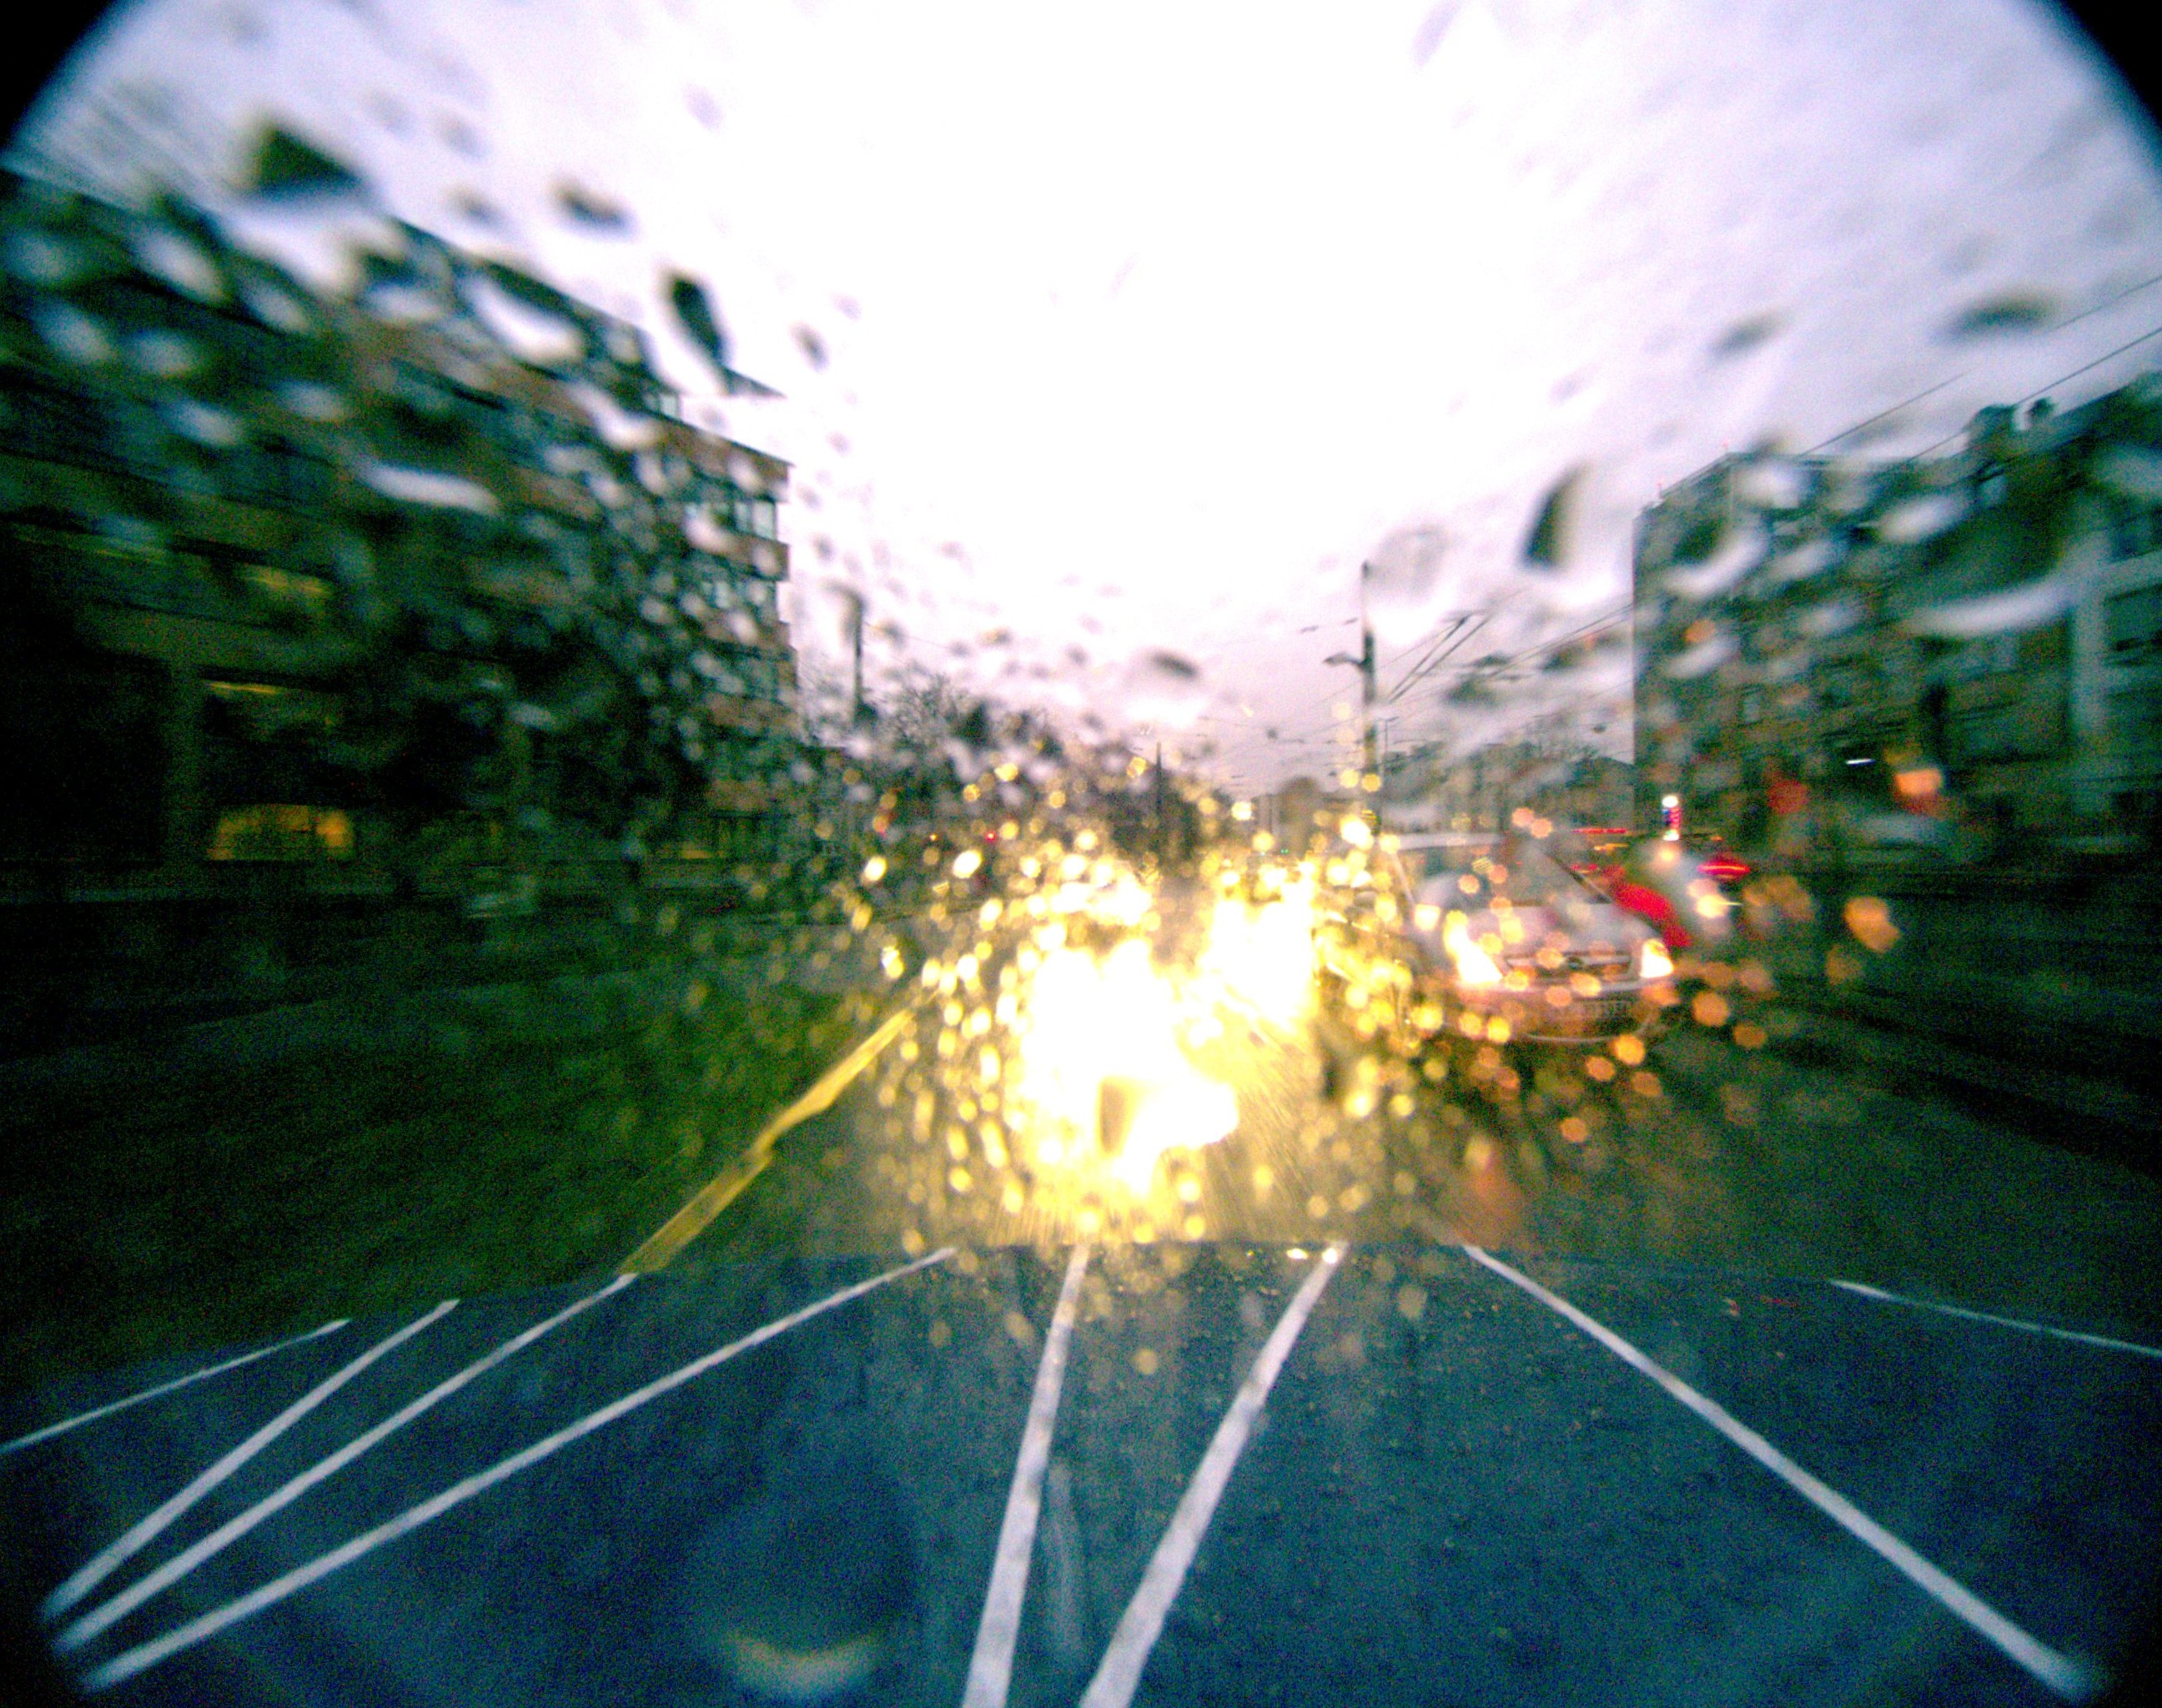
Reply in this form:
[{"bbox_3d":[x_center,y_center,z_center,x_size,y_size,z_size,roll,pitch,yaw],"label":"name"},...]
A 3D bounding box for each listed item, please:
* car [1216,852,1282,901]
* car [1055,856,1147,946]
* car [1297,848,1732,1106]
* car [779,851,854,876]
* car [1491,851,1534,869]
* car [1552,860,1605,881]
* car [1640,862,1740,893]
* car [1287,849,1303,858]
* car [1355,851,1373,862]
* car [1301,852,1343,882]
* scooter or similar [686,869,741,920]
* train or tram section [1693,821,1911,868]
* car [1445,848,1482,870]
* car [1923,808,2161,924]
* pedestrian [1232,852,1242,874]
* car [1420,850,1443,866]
[{"bbox_3d":[5.838,0.716,26.055,1.750,1.535,4.006,0,0,19],"label":"car"},{"bbox_3d":[0.497,0.874,15.820,1.649,1.575,3.805,-1,0,4],"label":"car"},{"bbox_3d":[3.188,0.745,6.631,1.649,1.539,4.110,-1,0,4],"label":"car"},{"bbox_3d":[-18.130,0.662,52.216,4.511,1.660,1.999,0,0,-4],"label":"car"},{"bbox_3d":[32.176,0.428,56.768,1.682,1.346,4.392,0,0,15],"label":"car"},{"bbox_3d":[28.962,0.924,44.314,1.602,1.127,3.794,0,0,17],"label":"car"},{"bbox_3d":[26.529,0.983,33.283,1.539,1.219,4.090,0,0,7],"label":"car"},{"bbox_3d":[35.389,-0.042,125.548,1.648,1.441,3.851,-1,0,2],"label":"car"},{"bbox_3d":[41.876,0.384,112.648,1.996,1.635,4.004,1,0,13],"label":"car"},{"bbox_3d":[14.755,0.764,46.343,1.816,1.732,4.194,0,0,26],"label":"car"},{"bbox_3d":[-9.054,0.994,18.761,1.146,1.224,0.487,0,0,-17],"label":"scooter or similar"},{"bbox_3d":[55.953,-0.748,59.003,16.310,3.170,3.166,-2,0,-10],"label":"train or tram section"},{"bbox_3d":[28.381,0.345,56.515,1.682,1.544,4.126,0,0,15],"label":"car"},{"bbox_3d":[22.382,0.248,16.689,1.998,2.296,5.266,0,0,1],"label":"car"},{"bbox_3d":[13.683,0.775,66.644,0.572,1.828,0.684,6,1,26],"label":"pedestrian"},{"bbox_3d":[32.125,0.370,69.629,1.489,1.478,3.157,0,0,17],"label":"car"}]
